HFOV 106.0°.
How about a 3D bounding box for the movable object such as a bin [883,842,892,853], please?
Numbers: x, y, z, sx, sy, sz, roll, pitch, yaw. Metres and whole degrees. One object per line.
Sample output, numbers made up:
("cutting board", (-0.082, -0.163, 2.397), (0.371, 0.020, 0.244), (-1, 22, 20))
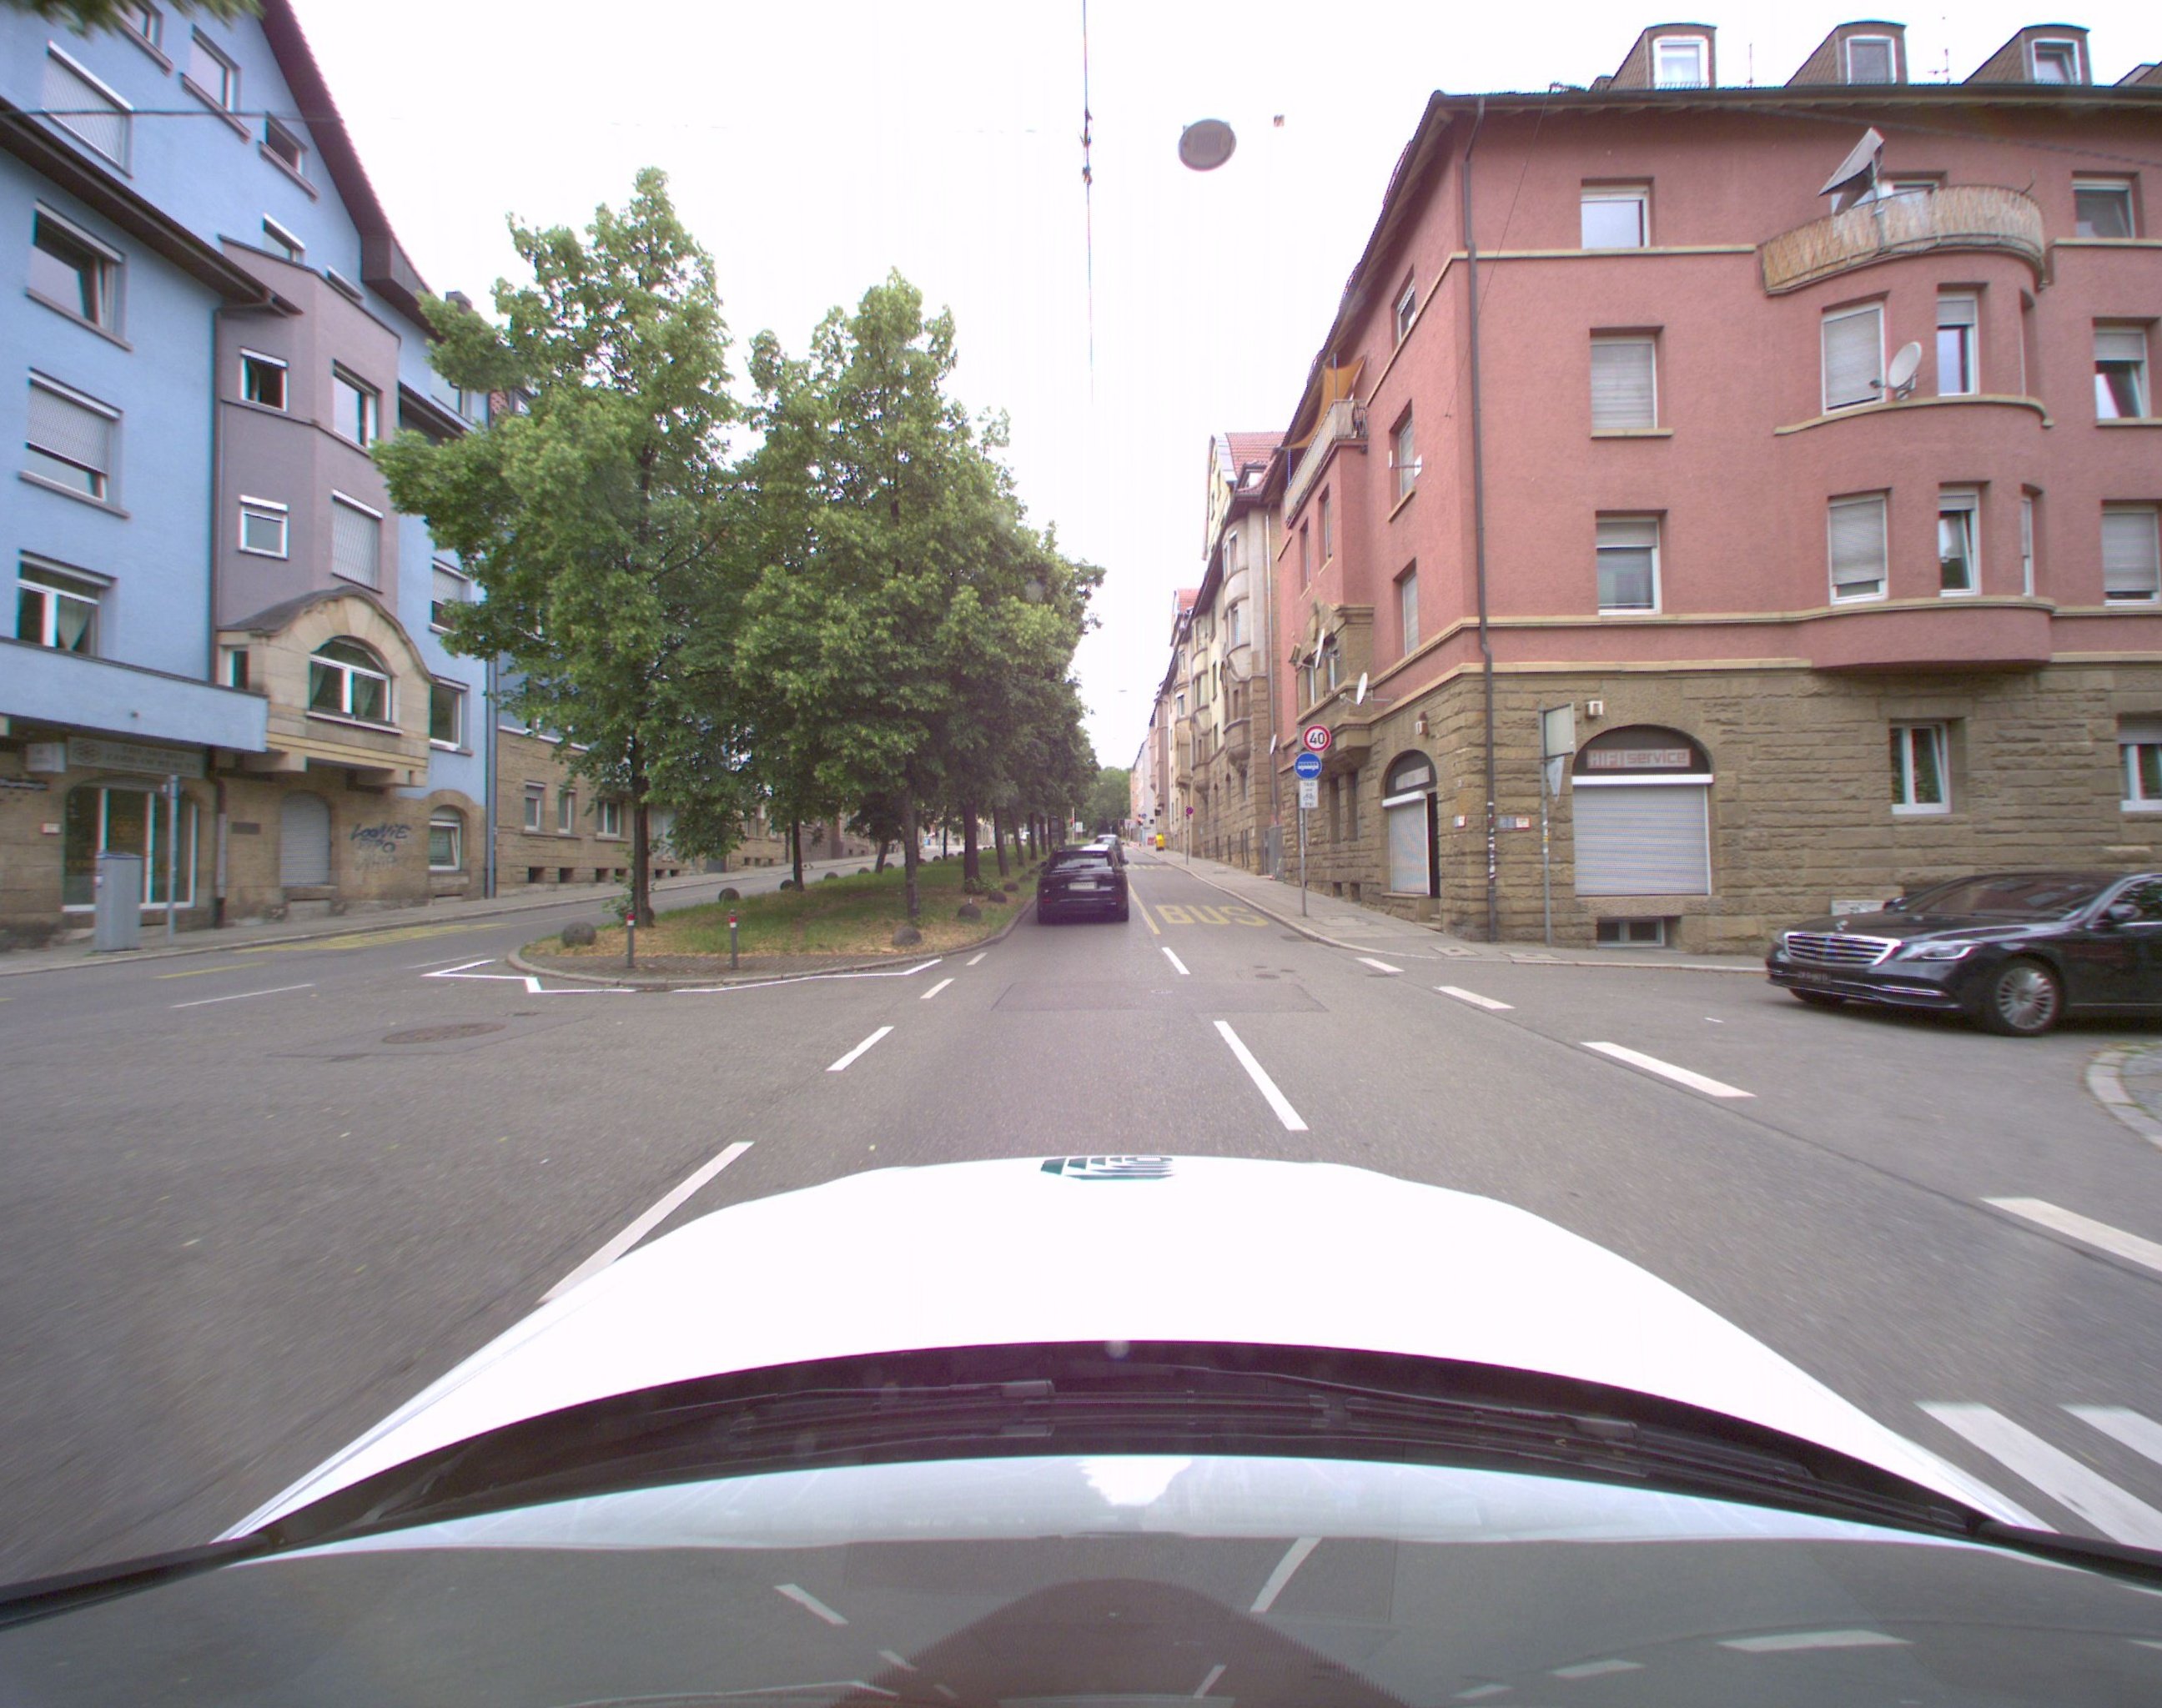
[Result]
("movable object such as a bin", (-16.466, -0.556, 69.299), (0.607, 0.904, 0.601), (0, 1, -3))

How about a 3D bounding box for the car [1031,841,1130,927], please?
("car", (0.056, 0.584, 18.733), (1.987, 1.652, 4.003), (-2, 2, 2))

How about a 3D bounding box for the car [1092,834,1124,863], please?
("car", (1.557, -0.376, 47.445), (1.746, 1.593, 3.631), (0, 2, 0))

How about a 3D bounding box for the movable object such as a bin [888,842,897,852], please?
("movable object such as a bin", (-16.386, -0.608, 70.752), (0.607, 0.904, 0.601), (0, 1, -3))

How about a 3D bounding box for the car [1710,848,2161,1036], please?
("car", (9.630, 0.812, 8.163), (5.117, 1.550, 2.235), (2, -1, -5))

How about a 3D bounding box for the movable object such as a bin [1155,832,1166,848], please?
("movable object such as a bin", (7.081, -1.268, 72.668), (0.717, 1.420, 1.693), (-2, 0, -1))
